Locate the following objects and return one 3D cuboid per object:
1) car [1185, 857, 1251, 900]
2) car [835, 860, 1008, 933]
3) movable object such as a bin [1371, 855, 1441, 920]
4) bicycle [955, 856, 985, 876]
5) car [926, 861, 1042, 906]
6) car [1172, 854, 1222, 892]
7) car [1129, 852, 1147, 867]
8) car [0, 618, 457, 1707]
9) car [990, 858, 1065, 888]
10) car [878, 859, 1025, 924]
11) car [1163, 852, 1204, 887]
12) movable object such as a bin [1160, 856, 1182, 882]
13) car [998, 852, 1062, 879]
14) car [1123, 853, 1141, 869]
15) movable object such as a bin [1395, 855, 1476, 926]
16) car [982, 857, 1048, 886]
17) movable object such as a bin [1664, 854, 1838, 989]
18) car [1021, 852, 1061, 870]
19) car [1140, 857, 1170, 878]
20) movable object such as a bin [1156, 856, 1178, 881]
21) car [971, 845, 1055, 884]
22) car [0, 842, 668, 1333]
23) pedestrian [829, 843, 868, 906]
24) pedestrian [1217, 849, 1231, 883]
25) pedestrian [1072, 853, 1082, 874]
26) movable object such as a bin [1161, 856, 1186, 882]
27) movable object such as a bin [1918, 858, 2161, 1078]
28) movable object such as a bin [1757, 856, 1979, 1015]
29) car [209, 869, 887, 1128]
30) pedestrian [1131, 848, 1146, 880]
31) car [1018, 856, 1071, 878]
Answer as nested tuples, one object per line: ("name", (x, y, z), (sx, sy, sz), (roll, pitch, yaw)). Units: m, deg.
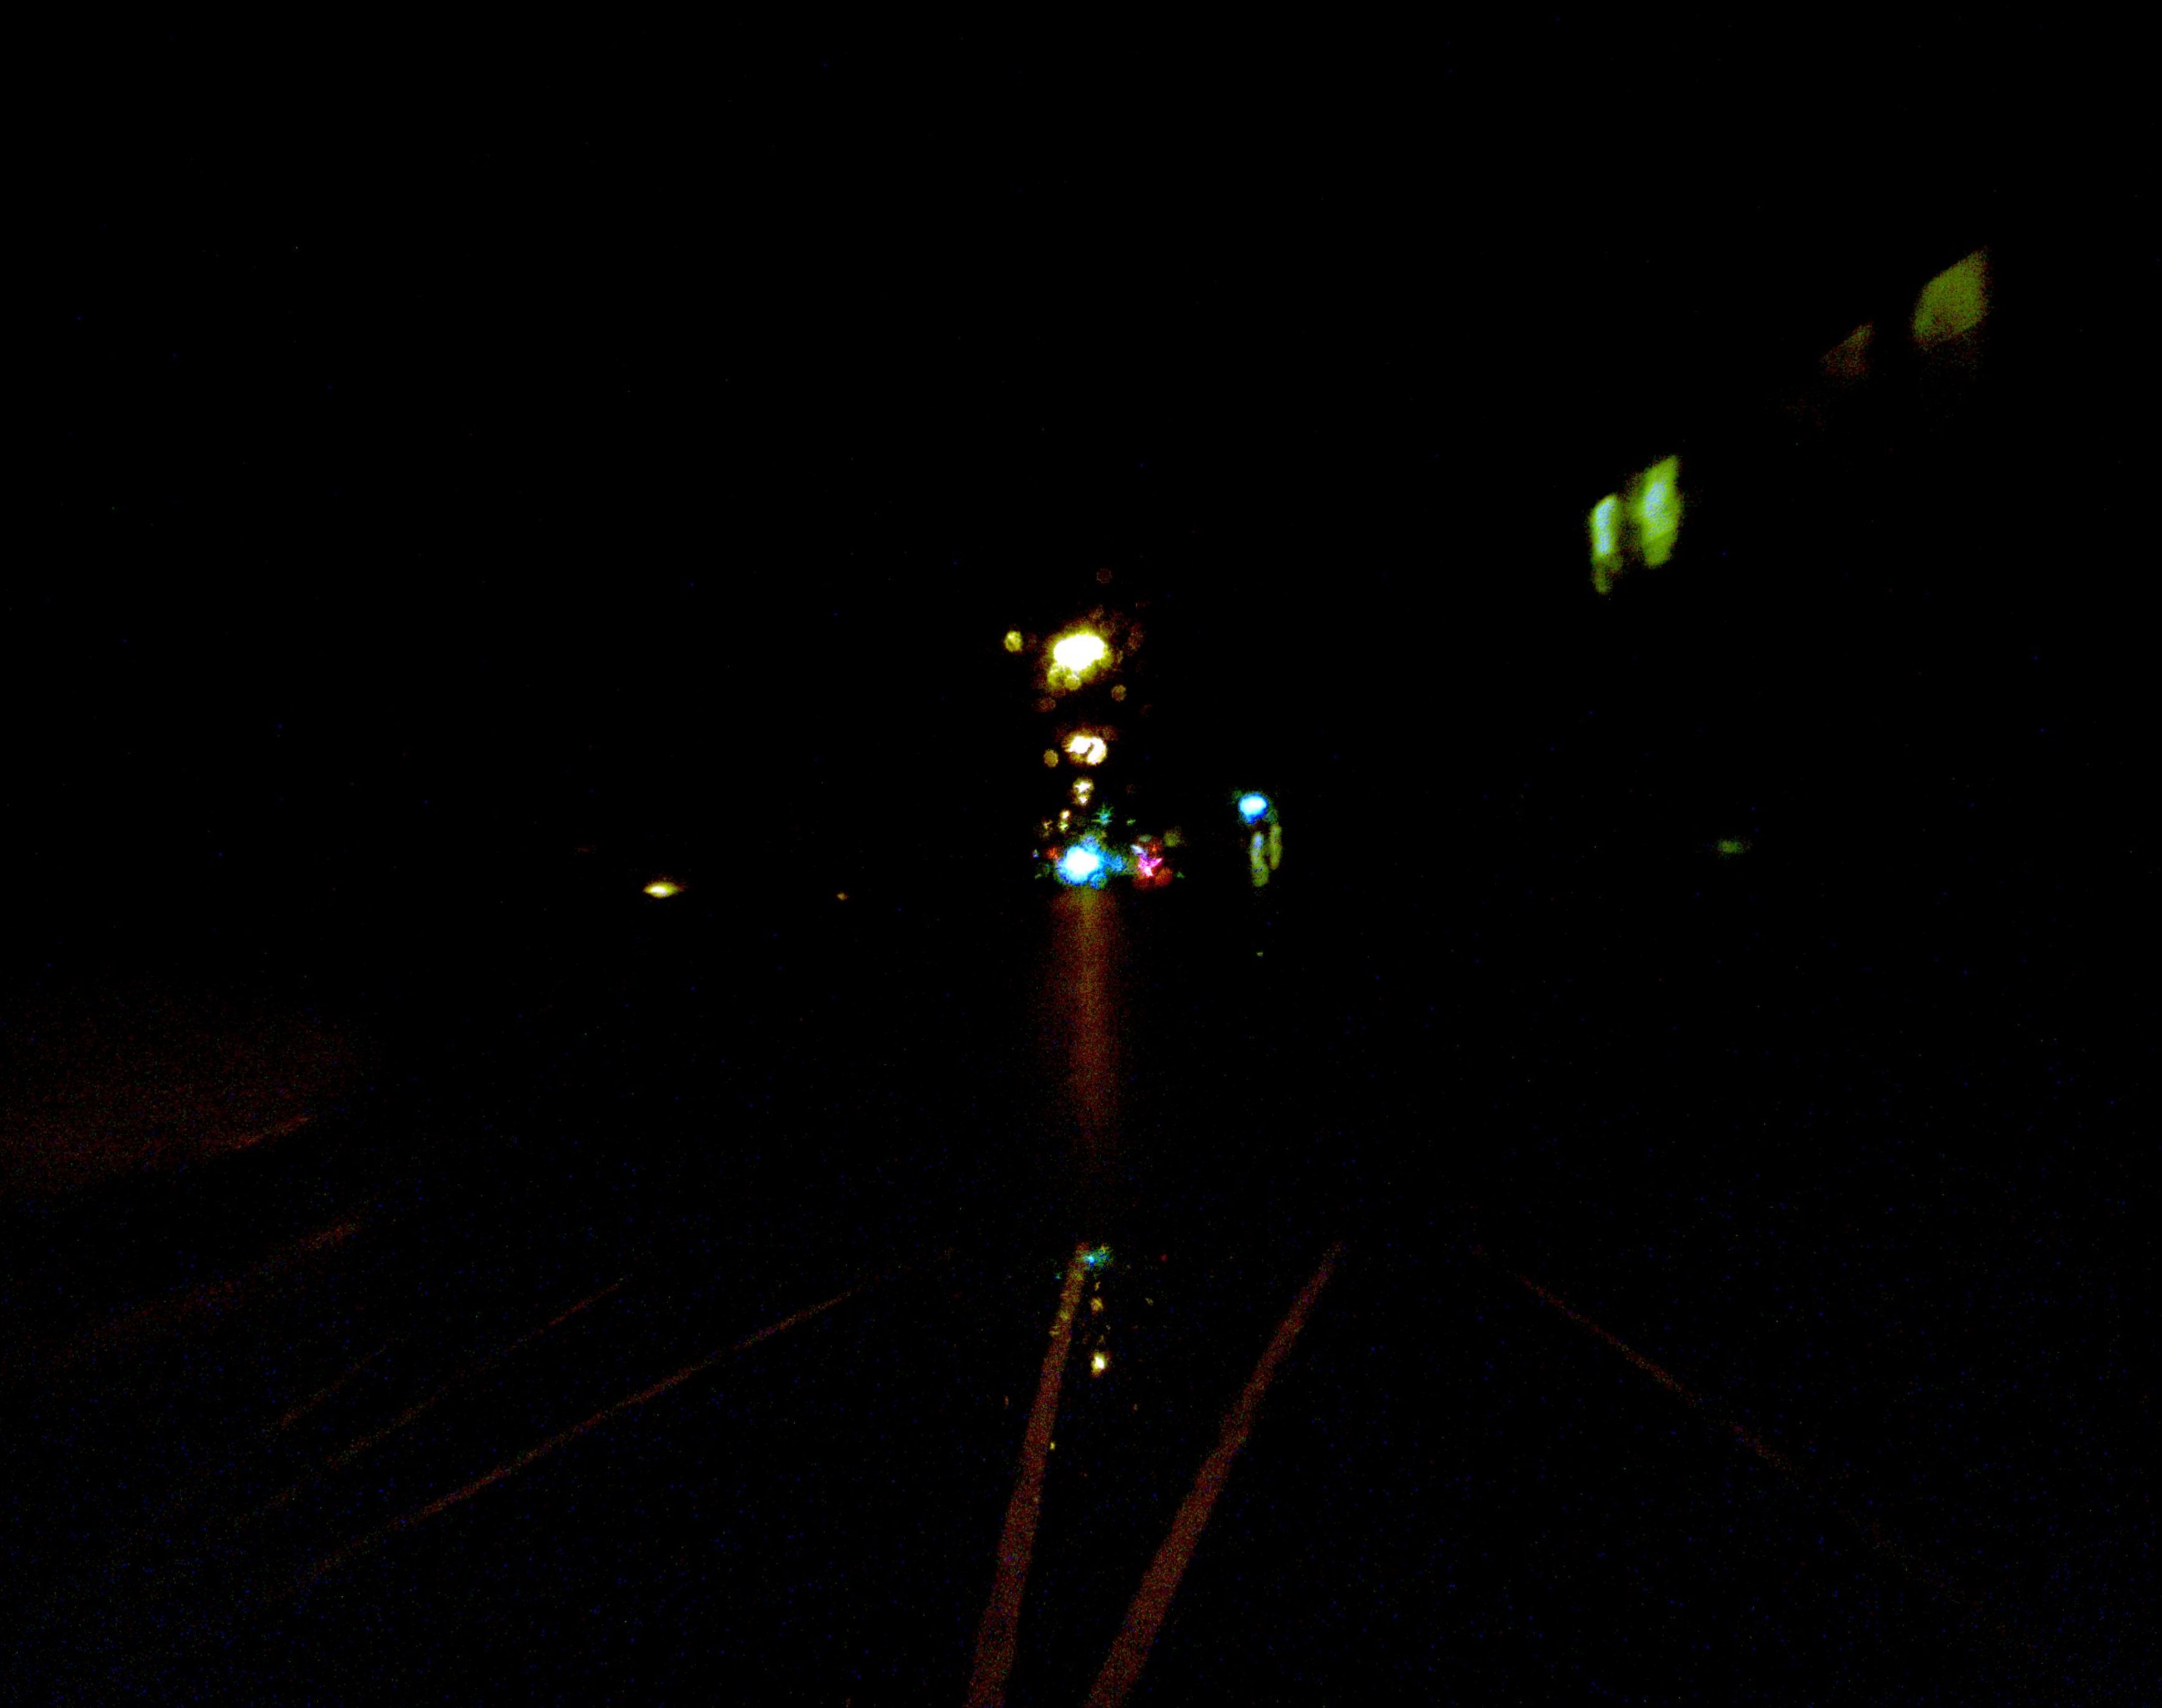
("car", (5.059, 0.858, 28.553), (1.690, 1.447, 4.315), (-2, 0, 0))
("car", (-3.727, 0.940, 17.923), (3.660, 1.571, 1.589), (1, -1, -33))
("movable object such as a bin", (7.622, 0.763, 17.868), (1.143, 1.411, 1.154), (-3, 0, 3))
("bicycle", (-8.156, 0.882, 55.811), (1.975, 1.327, 0.783), (2, 1, 7))
("car", (-3.388, 1.005, 26.757), (3.691, 1.452, 1.600), (1, 0, -34))
("car", (5.128, 0.825, 34.054), (1.607, 1.543, 4.025), (-2, 0, 0))
("car", (5.934, 0.559, 79.532), (1.550, 1.434, 3.563), (-3, 0, -1))
("car", (-3.995, 0.719, 0.835), (4.807, 2.037, 2.062), (-1, 0, -30))
("car", (-2.811, 0.979, 40.095), (3.659, 1.533, 1.556), (0, 1, -29))
("car", (-3.513, 0.963, 20.918), (3.660, 1.571, 1.588), (-1, 0, -38))
("car", (5.326, 0.763, 39.817), (1.607, 1.696, 3.721), (-1, 0, 0))
("movable object such as a bin", (5.284, 0.855, 44.760), (1.167, 1.451, 1.107), (-2, 1, 3))
("car", (-3.682, 0.811, 55.019), (4.256, 1.848, 1.712), (1, 0, -35))
("car", (5.926, 0.808, 89.127), (1.871, 1.835, 4.827), (0, 0, 1))
("movable object such as a bin", (7.559, 0.760, 16.261), (1.143, 1.411, 1.248), (-3, 0, 3))
("car", (-3.740, 0.967, 43.135), (3.407, 1.533, 1.573), (0, 1, -36))
("movable object such as a bin", (7.630, 0.725, 8.730), (0.977, 1.411, 1.133), (-3, 0, 3))
("car", (-5.427, 0.964, 103.686), (4.951, 2.327, 2.226), (0, 0, -34))
("car", (5.185, 0.939, 53.616), (1.658, 1.351, 4.222), (-1, 0, 0))
("movable object such as a bin", (5.205, 0.869, 45.942), (1.211, 1.451, 1.107), (-2, 1, 3))
("car", (-4.073, 0.597, 45.885), (4.734, 2.235, 1.941), (0, 1, -36))
("car", (-3.947, 0.822, 3.485), (3.571, 1.701, 1.642), (1, 0, -28))
("pedestrian", (-7.075, 0.609, 23.179), (0.871, 1.845, 0.993), (1, 0, -2))
("pedestrian", (7.703, 0.643, 41.003), (0.641, 1.770, 0.549), (0, 0, 1))
("pedestrian", (-0.299, 0.804, 63.102), (0.824, 1.760, 1.177), (0, 0, 0))
("movable object such as a bin", (5.271, 0.854, 43.447), (1.265, 1.451, 1.151), (-2, 0, 3))
("movable object such as a bin", (7.177, 0.745, 5.489), (0.977, 1.390, 1.133), (-3, 0, 3))
("movable object such as a bin", (7.678, 0.749, 7.495), (0.977, 1.411, 1.133), (-3, 0, 3))
("car", (-3.832, 0.908, 6.234), (4.007, 1.484, 1.730), (1, 0, -30))
("pedestrian", (3.656, 0.661, 47.991), (0.645, 2.001, 0.676), (2, -1, -30))
("car", (-3.166, 1.126, 65.469), (4.112, 1.754, 1.855), (-2, 0, -27))
